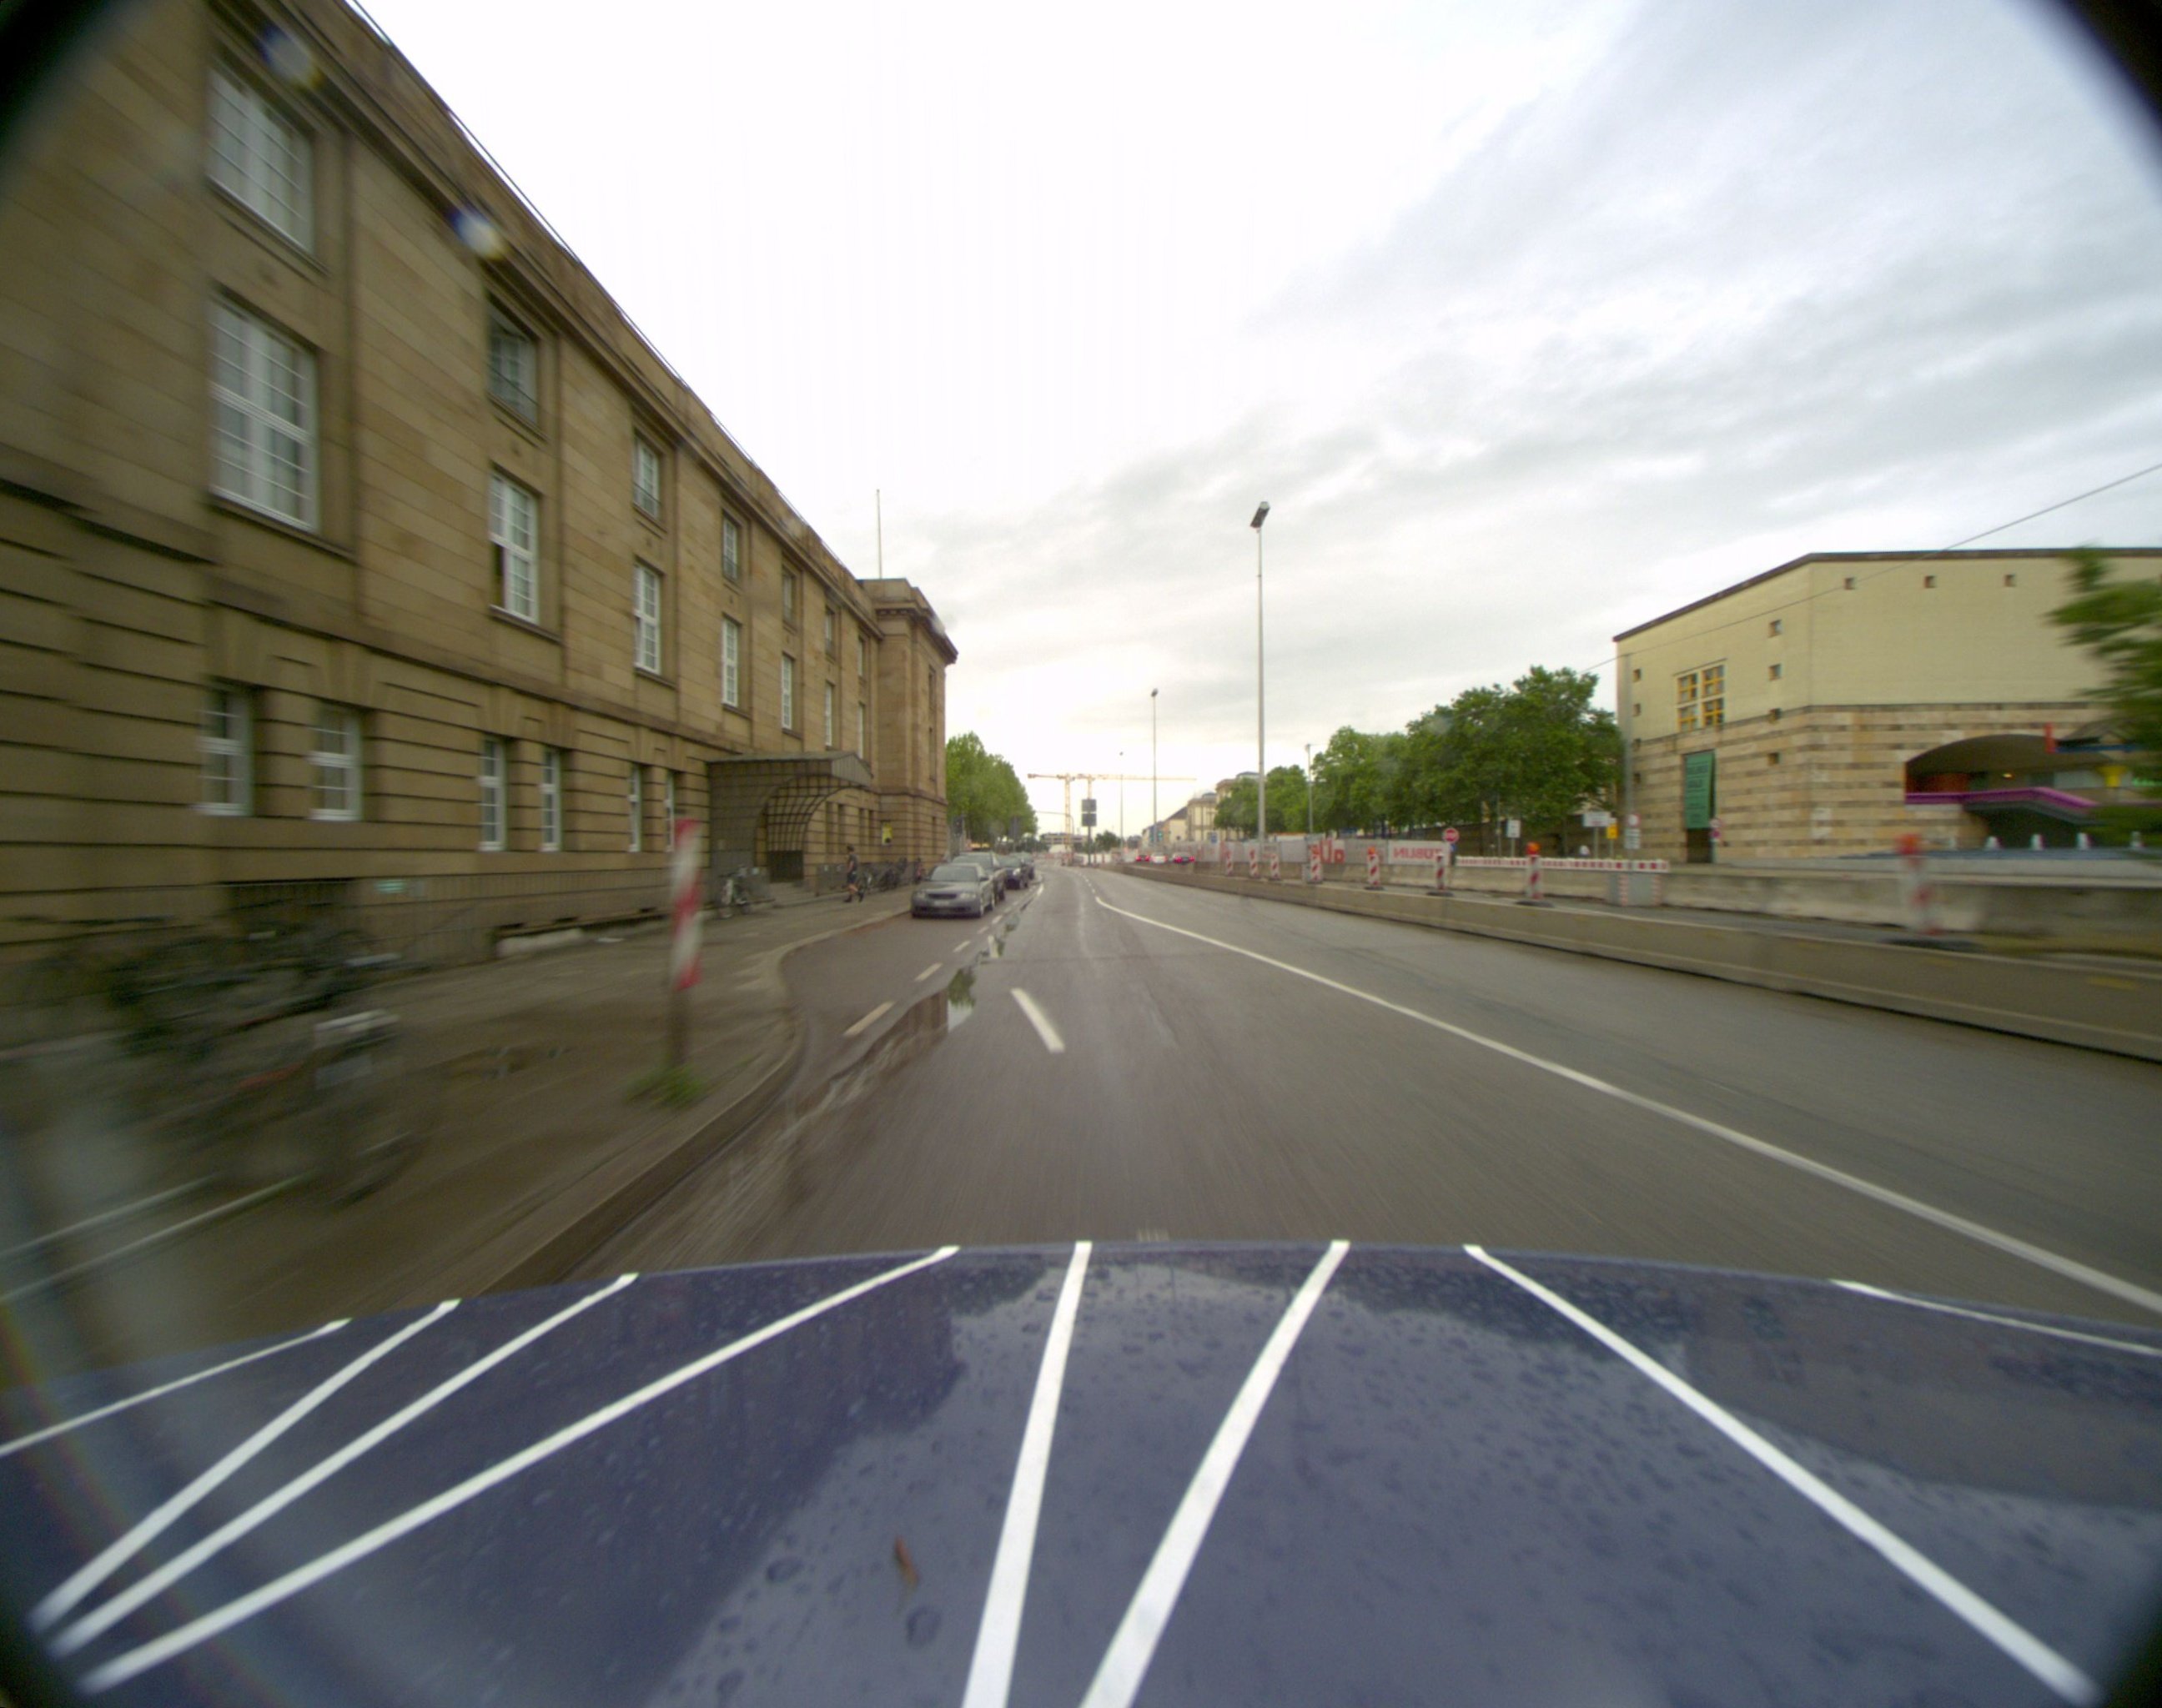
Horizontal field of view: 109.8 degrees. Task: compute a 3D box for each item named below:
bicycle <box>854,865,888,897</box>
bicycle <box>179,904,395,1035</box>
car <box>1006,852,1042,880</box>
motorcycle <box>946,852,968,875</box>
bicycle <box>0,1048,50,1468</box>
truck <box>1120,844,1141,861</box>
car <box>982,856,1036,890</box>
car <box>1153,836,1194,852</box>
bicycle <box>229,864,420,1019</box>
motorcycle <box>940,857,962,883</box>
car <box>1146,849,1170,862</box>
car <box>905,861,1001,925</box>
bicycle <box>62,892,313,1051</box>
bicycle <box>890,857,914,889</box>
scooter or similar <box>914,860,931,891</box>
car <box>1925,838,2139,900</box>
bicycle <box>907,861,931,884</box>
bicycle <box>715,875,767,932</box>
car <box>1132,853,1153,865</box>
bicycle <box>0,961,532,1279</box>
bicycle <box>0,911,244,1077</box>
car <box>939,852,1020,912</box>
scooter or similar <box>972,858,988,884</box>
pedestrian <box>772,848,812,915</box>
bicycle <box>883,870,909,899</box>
[{"bbox_3d":[-7.486,0.945,27.117,0.585,1.032,1.759,-1,1,4],"label":"bicycle"},{"bbox_3d":[-8.203,1.133,7.975,0.353,1.074,1.789,-2,1,0],"label":"bicycle"},{"bbox_3d":[-3.420,0.666,46.066,1.876,1.609,4.404,0,0,0],"label":"car"},{"bbox_3d":[-7.069,0.533,43.377,0.808,1.291,1.799,-1,1,4],"label":"motorcycle"},{"bbox_3d":[-3.700,1.090,1.786,1.683,1.084,0.650,-1,1,2],"label":"bicycle"},{"bbox_3d":[8.182,-0.267,125.879,2.405,2.703,7.351,-1,0,-5],"label":"truck"},{"bbox_3d":[-3.212,0.829,34.611,1.762,1.406,3.153,-2,1,7],"label":"car"},{"bbox_3d":[8.256,-0.872,68.204,1.781,1.255,4.761,-2,0,-17],"label":"car"},{"bbox_3d":[-8.235,0.883,8.375,0.454,1.507,1.599,-3,1,-1],"label":"bicycle"},{"bbox_3d":[-7.043,0.874,41.222,0.668,1.318,2.135,-1,1,4],"label":"motorcycle"},{"bbox_3d":[9.073,0.189,89.550,2.000,1.521,3.997,-1,0,-7],"label":"car"},{"bbox_3d":[-3.356,0.990,20.658,1.936,1.469,3.702,-1,1,0],"label":"car"},{"bbox_3d":[-8.371,1.032,7.236,0.454,1.244,1.599,-3,1,-1],"label":"bicycle"},{"bbox_3d":[-7.531,0.783,32.023,0.732,1.261,1.758,0,1,-5],"label":"bicycle"},{"bbox_3d":[-7.503,1.002,36.030,0.414,1.409,1.268,3,1,4],"label":"scooter or similar"},{"bbox_3d":[25.275,0.350,20.362,1.596,1.492,3.213,2,1,-3],"label":"car"},{"bbox_3d":[-7.822,0.895,36.688,0.419,1.044,1.773,-1,1,13],"label":"bicycle"},{"bbox_3d":[-7.922,1.129,17.784,0.465,1.208,1.691,-1,1,-2],"label":"bicycle"},{"bbox_3d":[8.640,0.694,107.311,1.926,1.521,4.757,-1,0,-7],"label":"car"},{"bbox_3d":[-3.665,1.071,3.267,1.990,1.054,0.759,-1,1,-3],"label":"bicycle"},{"bbox_3d":[-8.165,1.096,6.356,0.353,1.074,1.789,1,1,0],"label":"bicycle"},{"bbox_3d":[-3.360,0.877,25.867,1.998,1.771,4.188,-1,1,2],"label":"car"},{"bbox_3d":[-5.264,0.867,39.496,0.435,1.285,1.255,-2,1,-24],"label":"scooter or similar"},{"bbox_3d":[-7.867,0.733,20.677,0.797,1.767,0.642,2,1,0],"label":"pedestrian"},{"bbox_3d":[-7.318,1.206,30.141,0.714,1.045,1.739,-1,1,-5],"label":"bicycle"}]
